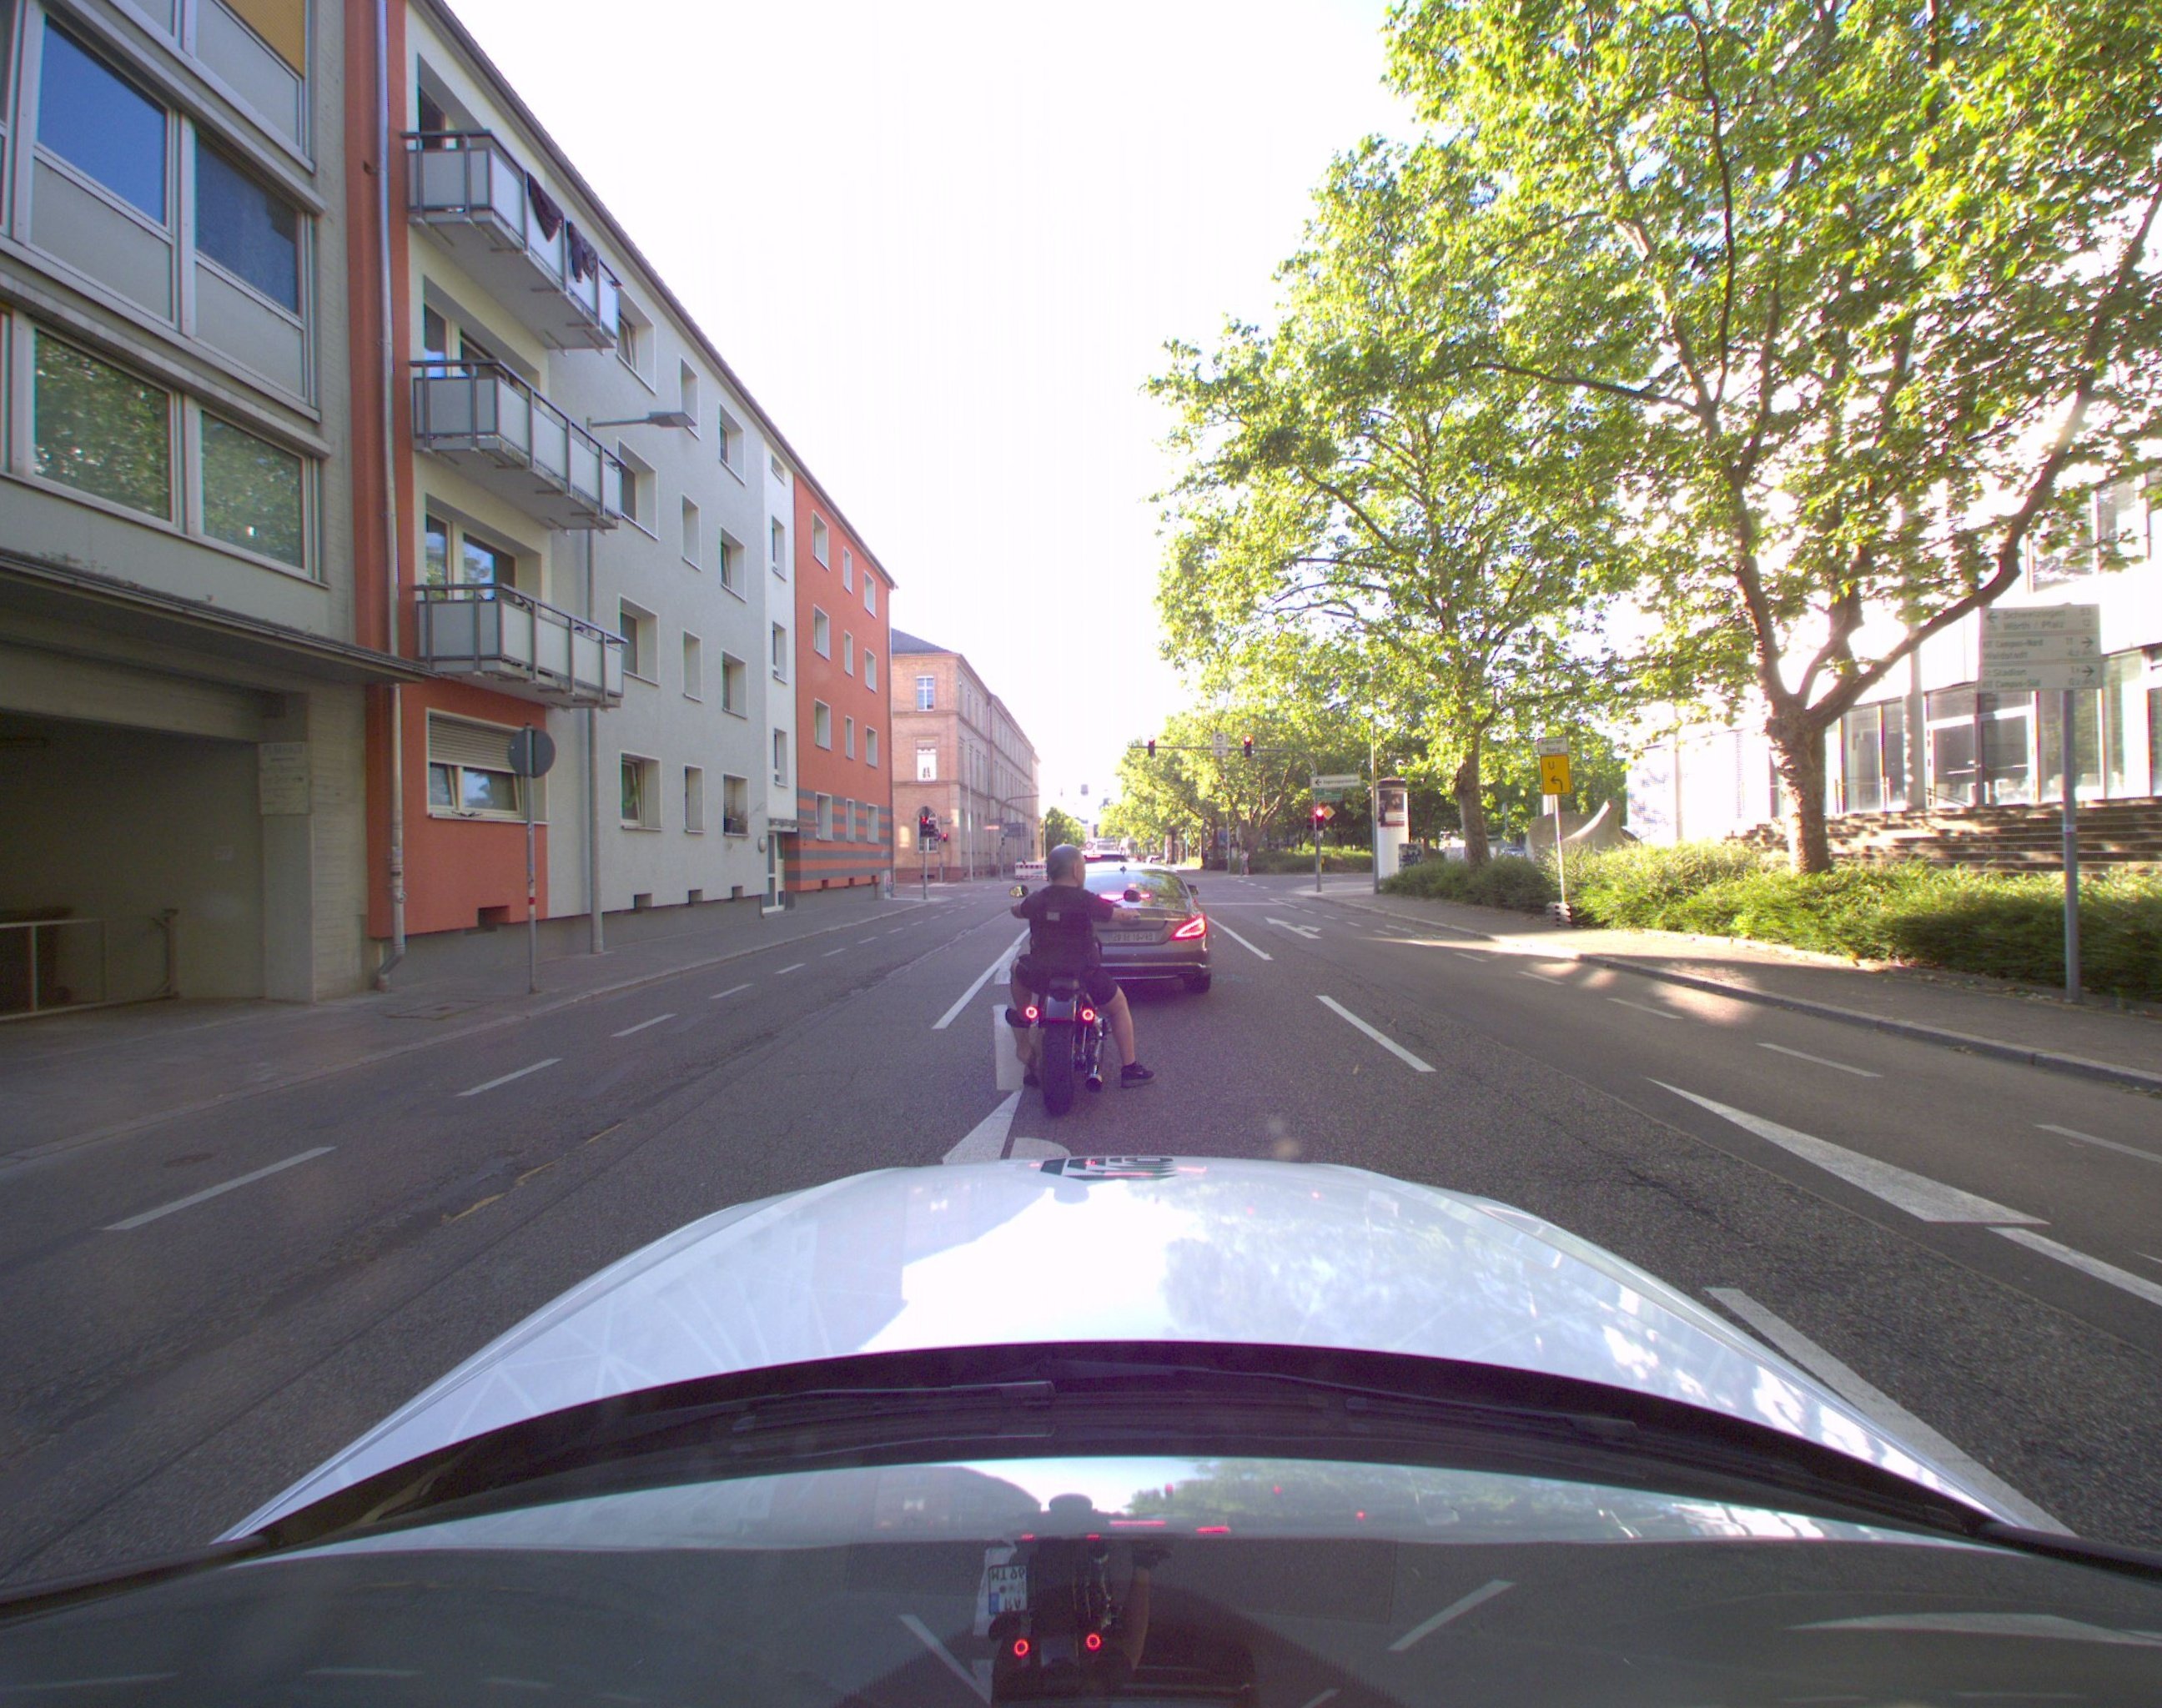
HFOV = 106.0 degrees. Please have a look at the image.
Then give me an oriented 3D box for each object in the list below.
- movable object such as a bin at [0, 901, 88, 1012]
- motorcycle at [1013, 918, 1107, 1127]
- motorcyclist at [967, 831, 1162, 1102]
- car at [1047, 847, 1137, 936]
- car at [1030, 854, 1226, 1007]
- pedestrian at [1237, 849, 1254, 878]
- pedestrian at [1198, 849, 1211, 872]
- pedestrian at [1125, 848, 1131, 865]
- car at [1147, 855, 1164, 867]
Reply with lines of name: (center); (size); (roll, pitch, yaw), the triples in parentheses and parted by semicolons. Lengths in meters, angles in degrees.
movable object such as a bin: (-11.262, 1.064, 8.646); (0.626, 1.100, 0.659); (0, -1, 4)
motorcycle: (-0.082, 1.003, 5.473); (0.511, 1.002, 2.014); (0, -1, 2)
motorcyclist: (-0.077, 0.670, 5.465); (1.145, 1.598, 1.288); (0, -1, 1)
car: (0.271, 0.692, 16.869); (1.615, 1.594, 4.002); (-1, 0, 2)
car: (0.512, 0.738, 9.741); (1.875, 1.449, 3.821); (0, 0, 2)
pedestrian: (10.791, 0.625, 53.539); (0.996, 1.826, 1.078); (0, -1, 8)
pedestrian: (10.610, 0.564, 69.950); (0.753, 1.910, 0.918); (0, -1, -26)
pedestrian: (5.792, 0.282, 100.972); (0.761, 2.051, 0.712); (0, -1, 1)
car: (8.806, 0.837, 96.881); (1.769, 1.428, 3.804); (-1, 0, 2)
